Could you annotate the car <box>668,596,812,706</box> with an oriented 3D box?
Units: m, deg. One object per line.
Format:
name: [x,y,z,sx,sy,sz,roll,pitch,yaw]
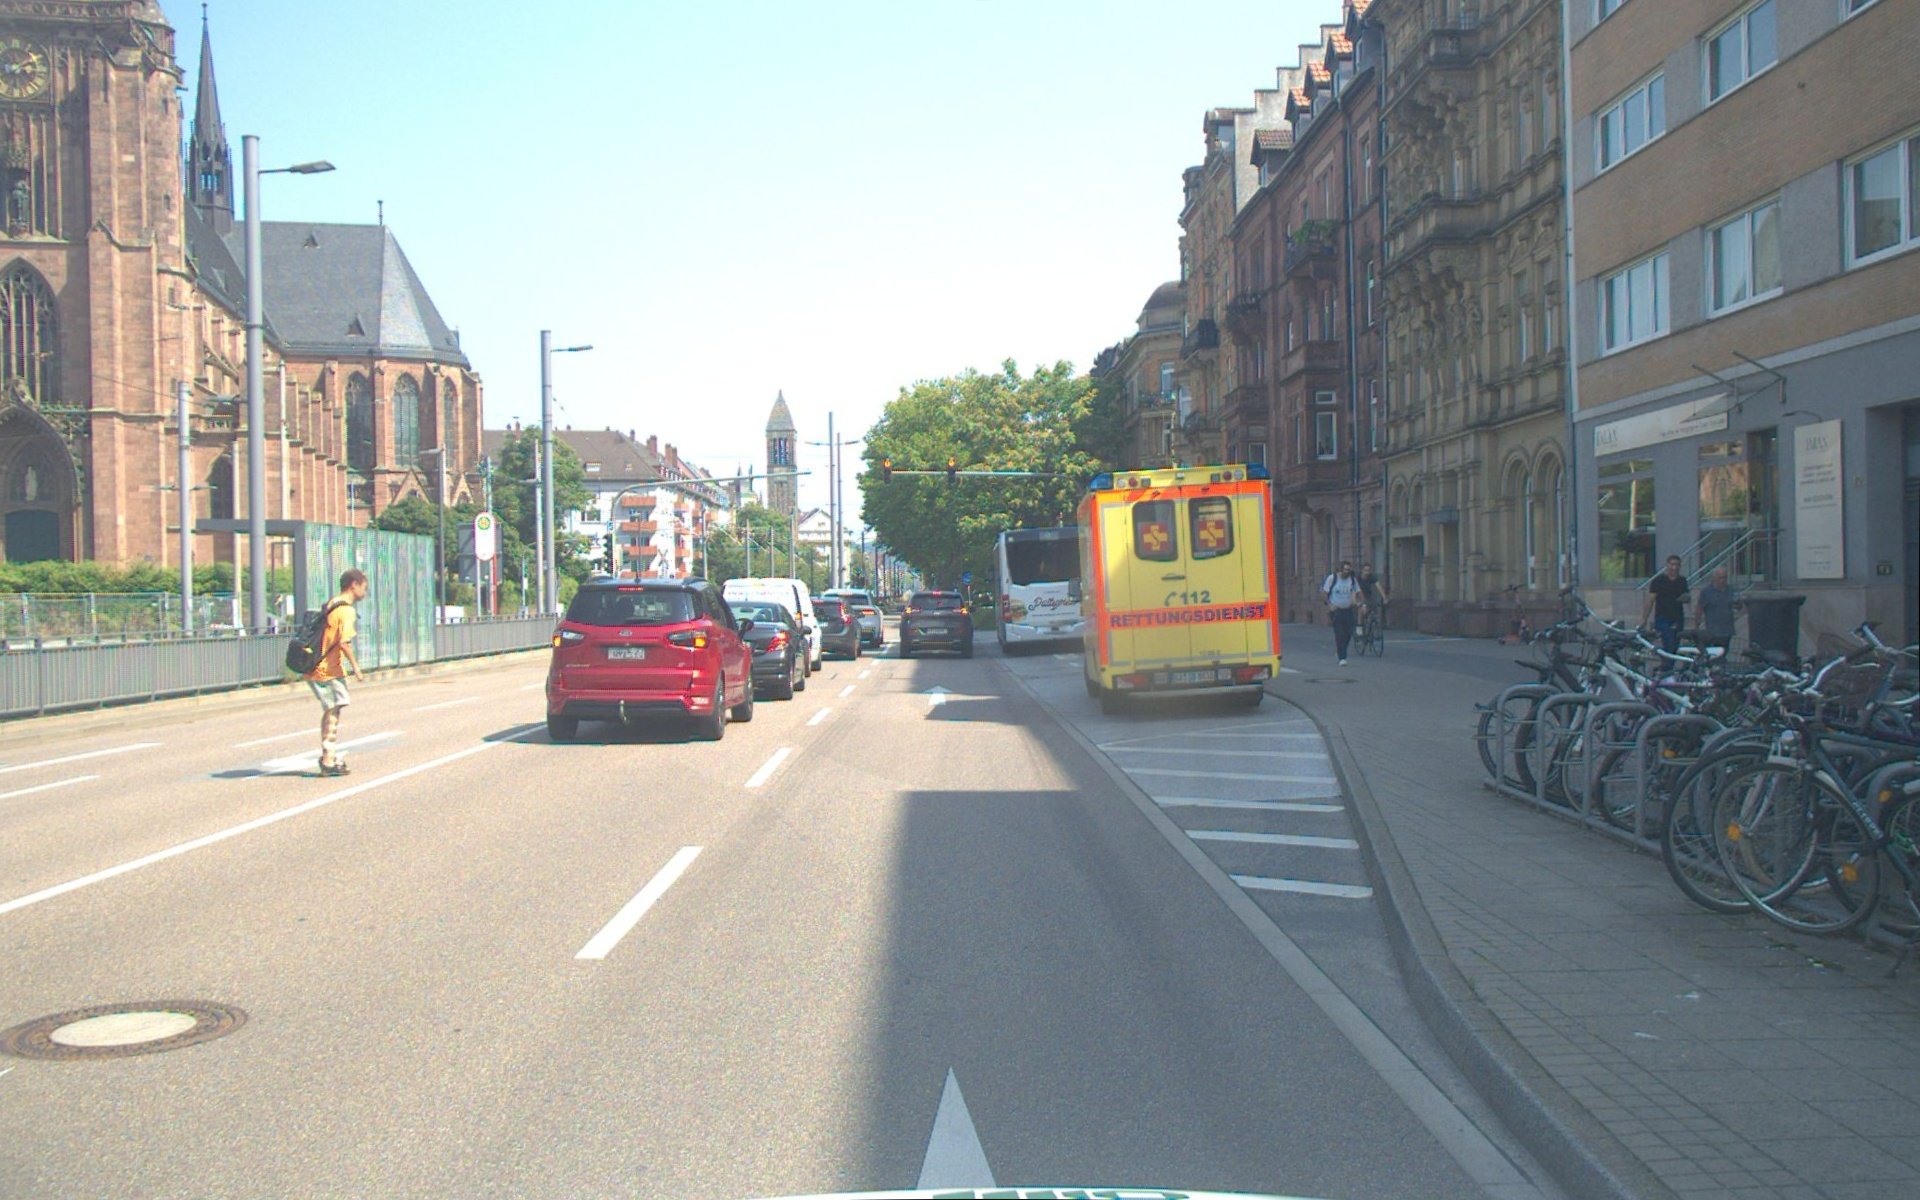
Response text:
car: [-3.221,0.703,24.872,1.754,1.456,3.998,-1,0,-2]

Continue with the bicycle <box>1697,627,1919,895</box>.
bicycle: [4.128,0.669,7.072,1.798,1.090,0.365,0,1,-1]

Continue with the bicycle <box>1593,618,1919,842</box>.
bicycle: [4.099,0.653,8.512,1.506,1.090,0.472,0,1,-1]

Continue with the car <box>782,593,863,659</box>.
car: [-3.303,0.615,40.254,1.754,1.498,3.998,-1,-1,-2]

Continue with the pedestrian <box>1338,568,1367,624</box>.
pedestrian: [11.588,-0.110,48.829,0.611,1.621,0.695,-1,0,-7]

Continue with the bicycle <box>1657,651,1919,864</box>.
bicycle: [4.180,0.745,7.959,1.506,0.969,0.365,0,1,-1]

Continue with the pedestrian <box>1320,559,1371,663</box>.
pedestrian: [6.363,0.178,27.271,0.683,1.696,0.602,-1,0,25]

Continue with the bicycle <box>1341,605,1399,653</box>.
bicycle: [7.841,0.539,31.682,0.577,0.869,1.775,-1,0,-2]

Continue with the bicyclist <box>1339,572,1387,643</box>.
bicyclist: [7.741,0.143,31.760,0.737,1.345,0.581,-1,0,-1]

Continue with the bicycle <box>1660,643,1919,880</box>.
bicycle: [4.039,0.725,7.593,1.506,1.034,0.365,0,1,-1]

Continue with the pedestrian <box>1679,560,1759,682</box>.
pedestrian: [9.747,0.264,21.267,0.630,1.519,0.789,-1,0,-1]

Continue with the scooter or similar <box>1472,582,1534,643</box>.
scooter or similar: [11.246,0.259,34.276,0.505,1.217,1.296,-1,0,-20]

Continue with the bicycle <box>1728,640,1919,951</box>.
bicycle: [3.987,0.702,6.227,2.079,1.090,0.381,-1,1,-5]

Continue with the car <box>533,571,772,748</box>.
car: [-3.174,0.558,17.873,1.726,1.646,4.083,-1,0,1]

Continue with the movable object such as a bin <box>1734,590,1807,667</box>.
movable object such as a bin: [11.479,0.399,23.426,0.642,1.066,0.752,-2,0,-44]

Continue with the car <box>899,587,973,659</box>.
car: [-0.656,0.581,41.818,1.754,1.707,3.998,-1,-1,-2]

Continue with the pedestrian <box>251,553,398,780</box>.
pedestrian: [-5.217,0.526,13.637,1.048,1.782,0.760,-1,-1,-17]

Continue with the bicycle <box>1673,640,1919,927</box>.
bicycle: [3.678,0.715,6.609,1.506,1.090,0.365,0,1,-1]

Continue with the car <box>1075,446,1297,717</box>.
car: [2.723,-0.229,21.322,2.251,2.939,5.601,-2,0,3]

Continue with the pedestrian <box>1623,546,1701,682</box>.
pedestrian: [9.063,0.178,21.371,0.630,1.714,0.789,-1,0,-1]

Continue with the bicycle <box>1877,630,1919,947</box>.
bicycle: [3.549,0.651,5.193,0.466,1.089,1.505,-1,0,-1]

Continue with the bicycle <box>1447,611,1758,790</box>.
bicycle: [4.075,0.630,10.585,1.739,1.090,0.644,-1,0,4]

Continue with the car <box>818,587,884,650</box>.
car: [-3.129,0.527,48.171,1.754,1.728,3.998,-1,-1,-2]

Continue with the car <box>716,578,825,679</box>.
car: [-3.610,0.538,32.021,1.754,1.811,3.998,-1,-1,-2]

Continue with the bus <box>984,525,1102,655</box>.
bus: [2.102,-0.262,46.276,2.482,3.085,12.433,-1,0,-1]

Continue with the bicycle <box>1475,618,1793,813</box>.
bicycle: [3.974,0.665,9.827,1.624,1.090,0.644,-1,0,-1]

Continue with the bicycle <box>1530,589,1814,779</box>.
bicycle: [4.779,0.553,11.178,1.638,1.237,0.644,-1,0,4]

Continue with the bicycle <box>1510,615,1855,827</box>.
bicycle: [3.940,0.642,9.092,1.624,1.090,0.644,0,1,-1]
